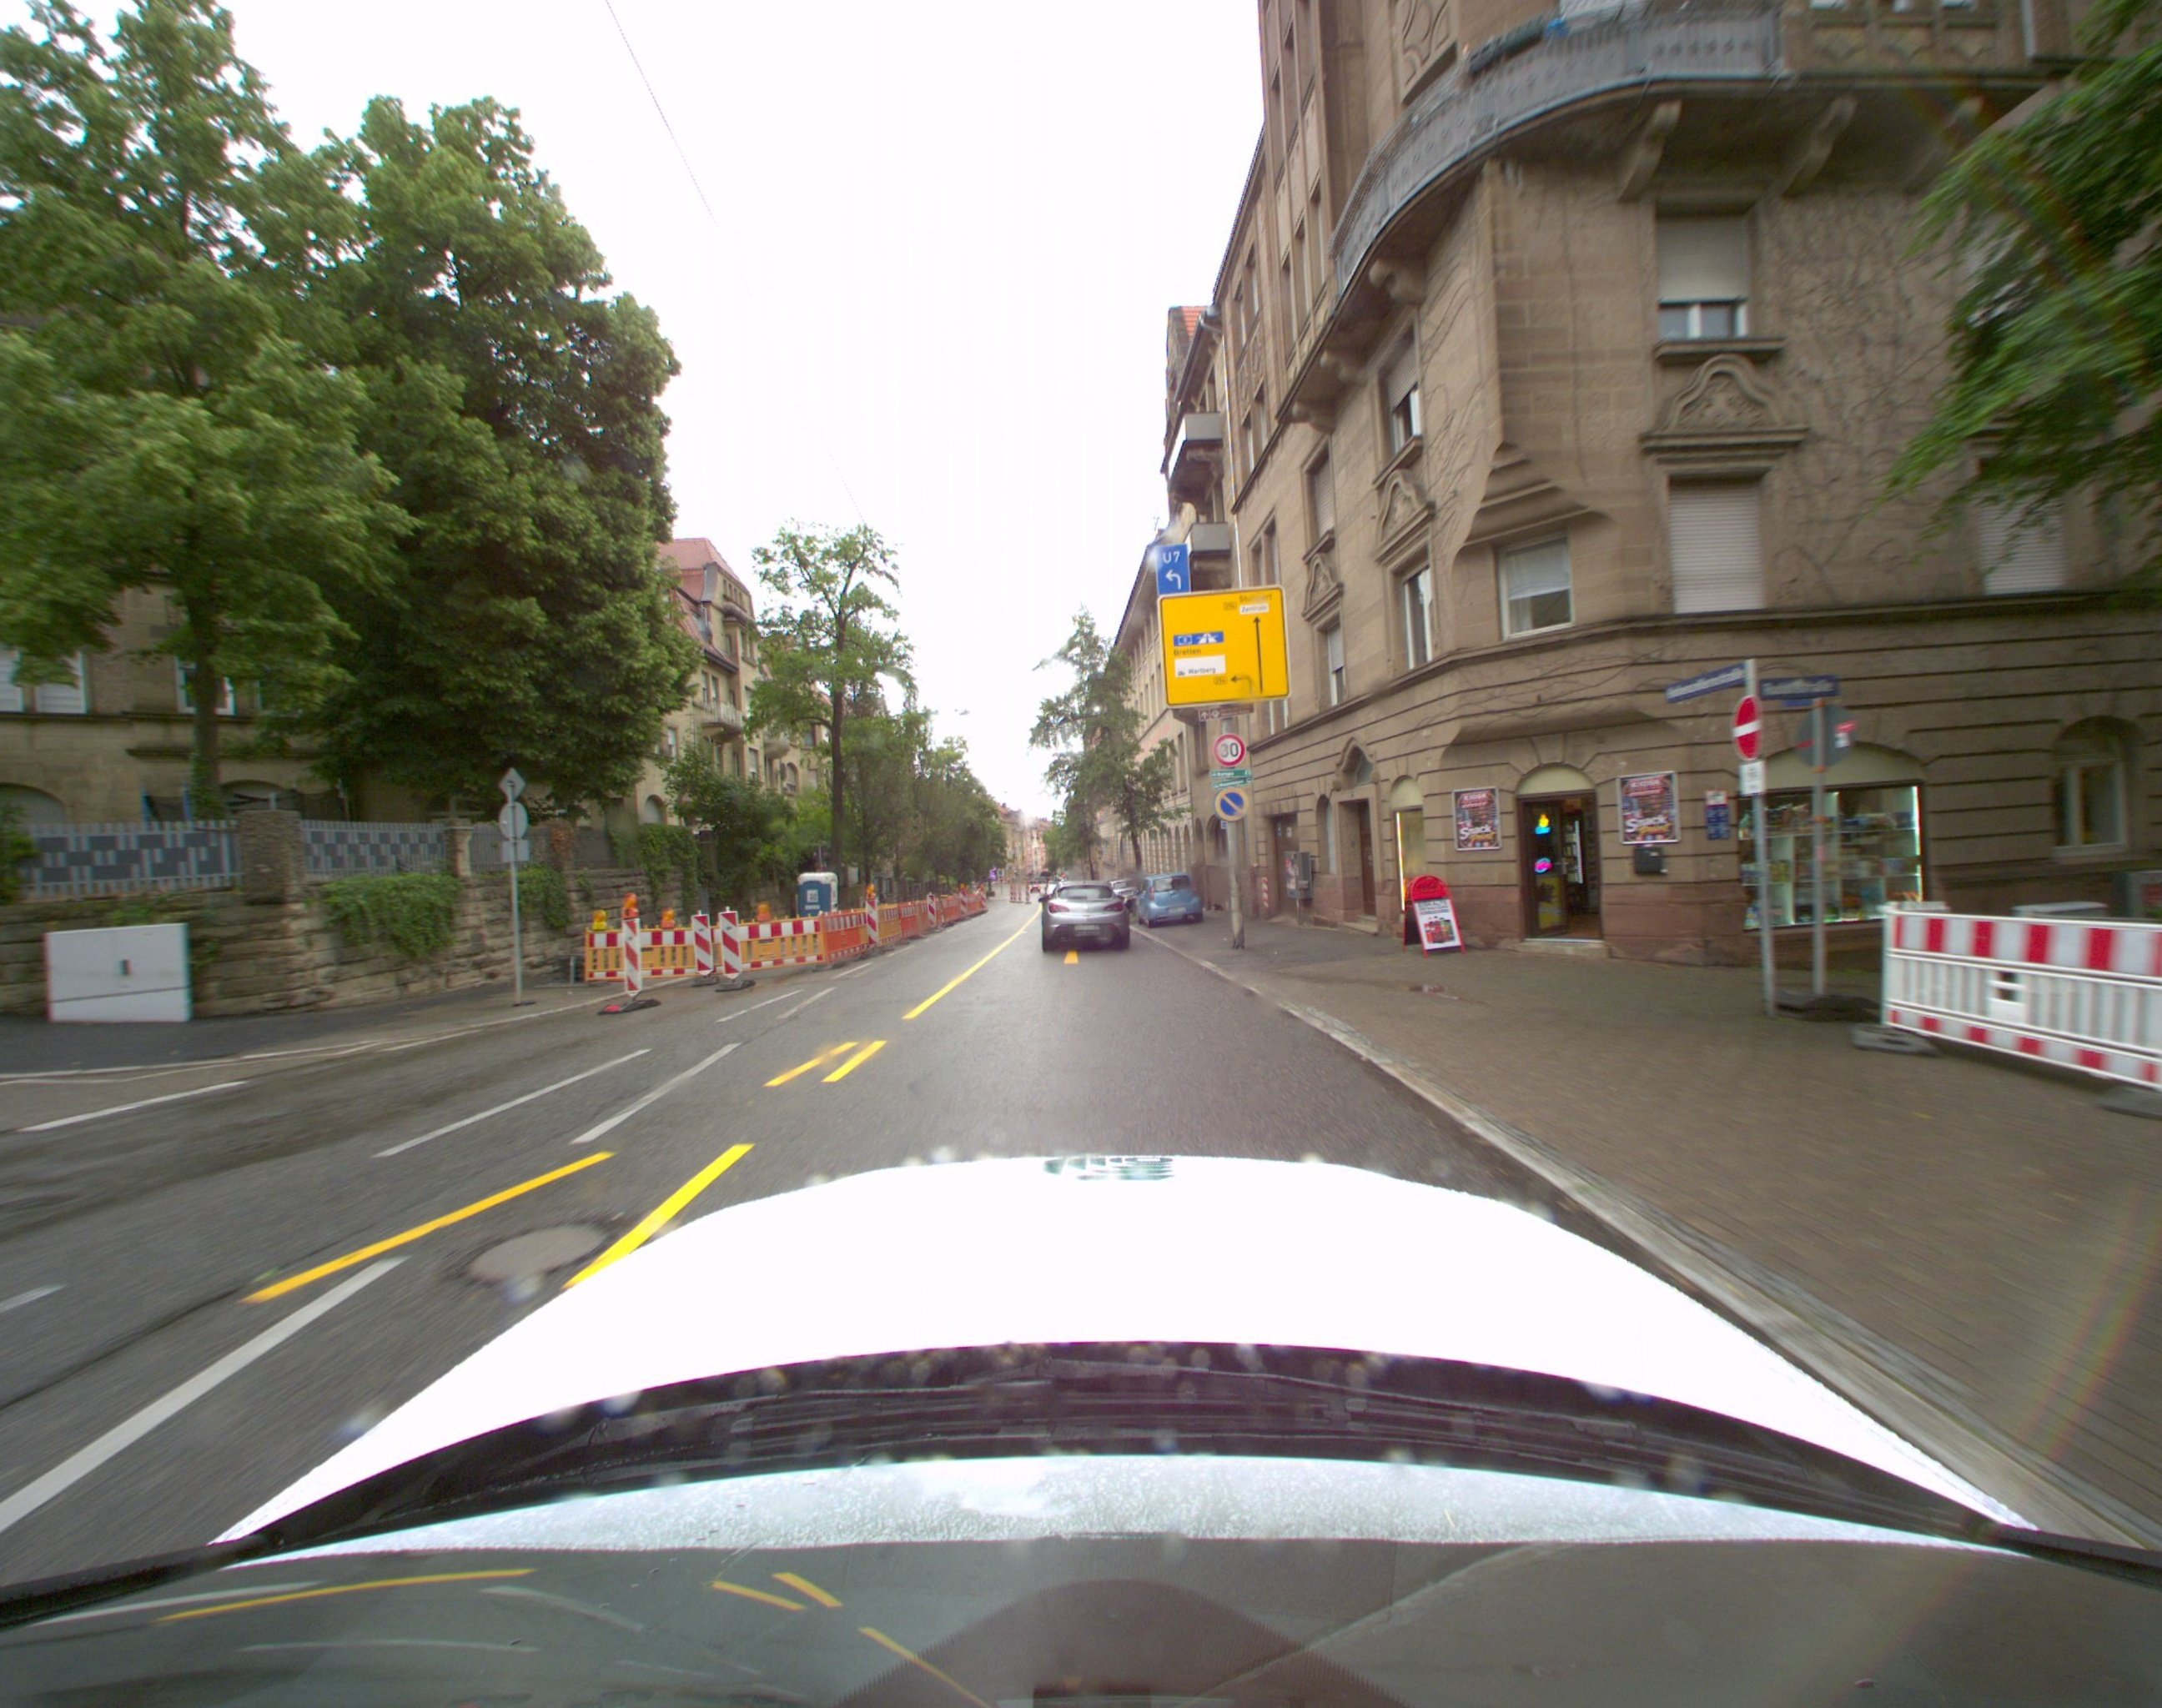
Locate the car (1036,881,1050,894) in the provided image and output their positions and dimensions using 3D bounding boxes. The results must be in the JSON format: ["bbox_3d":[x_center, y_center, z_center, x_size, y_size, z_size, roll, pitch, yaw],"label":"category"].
[{"bbox_3d":[-5.005,4.423,107.197,1.653,1.543,3.660,-5,-2,-3],"label":"car"}]

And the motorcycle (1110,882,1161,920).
[{"bbox_3d":[2.097,1.788,31.120,1.949,1.235,0.650,-4,-1,-39],"label":"motorcycle"}]

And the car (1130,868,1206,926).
[{"bbox_3d":[2.614,1.317,25.261,1.653,1.543,3.660,-5,-2,-3],"label":"car"}]

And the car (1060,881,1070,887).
[{"bbox_3d":[-4.287,8.127,220.343,1.982,1.684,4.008,-1,-3,8],"label":"car"}]

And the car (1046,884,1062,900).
[{"bbox_3d":[-2.945,4.097,88.444,1.653,1.543,3.660,-5,-2,-3],"label":"car"}]

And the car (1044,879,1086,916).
[{"bbox_3d":[-0.730,1.936,36.718,1.767,1.504,3.866,-2,-2,-2],"label":"car"}]

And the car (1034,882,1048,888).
[{"bbox_3d":[-11.166,8.677,227.513,3.978,1.750,1.997,-1,-3,-3],"label":"car"}]

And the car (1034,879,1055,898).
[{"bbox_3d":[-3.323,3.118,73.521,1.654,1.543,3.659,-5,-2,-4],"label":"car"}]

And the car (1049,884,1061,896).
[{"bbox_3d":[-4.211,5.772,130.285,1.712,1.782,3.660,-6,-2,-3],"label":"car"}]

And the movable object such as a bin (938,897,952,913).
[{"bbox_3d":[-10.774,4.039,64.361,0.942,1.214,0.855,-1,-2,-2],"label":"movable object such as a bin"}]

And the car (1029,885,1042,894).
[{"bbox_3d":[-8.160,6.322,145.683,1.990,1.501,3.992,-3,-3,-5],"label":"car"}]

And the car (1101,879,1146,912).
[{"bbox_3d":[2.092,2.077,41.424,1.692,1.431,4.415,-6,-2,-4],"label":"car"}]

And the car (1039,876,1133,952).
[{"bbox_3d":[0.096,1.260,18.130,1.805,1.450,3.867,-2,-2,0],"label":"car"}]

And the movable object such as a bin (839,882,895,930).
[{"bbox_3d":[-11.133,2.661,42.463,1.987,2.299,2.815,-4,-2,1],"label":"movable object such as a bin"}]

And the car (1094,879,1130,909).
[{"bbox_3d":[1.732,2.293,46.932,1.635,1.520,3.178,-6,-2,-4],"label":"car"}]

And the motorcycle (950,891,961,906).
[{"bbox_3d":[-11.464,4.104,74.541,0.763,1.346,2.200,-1,-3,-3],"label":"motorcycle"}]
